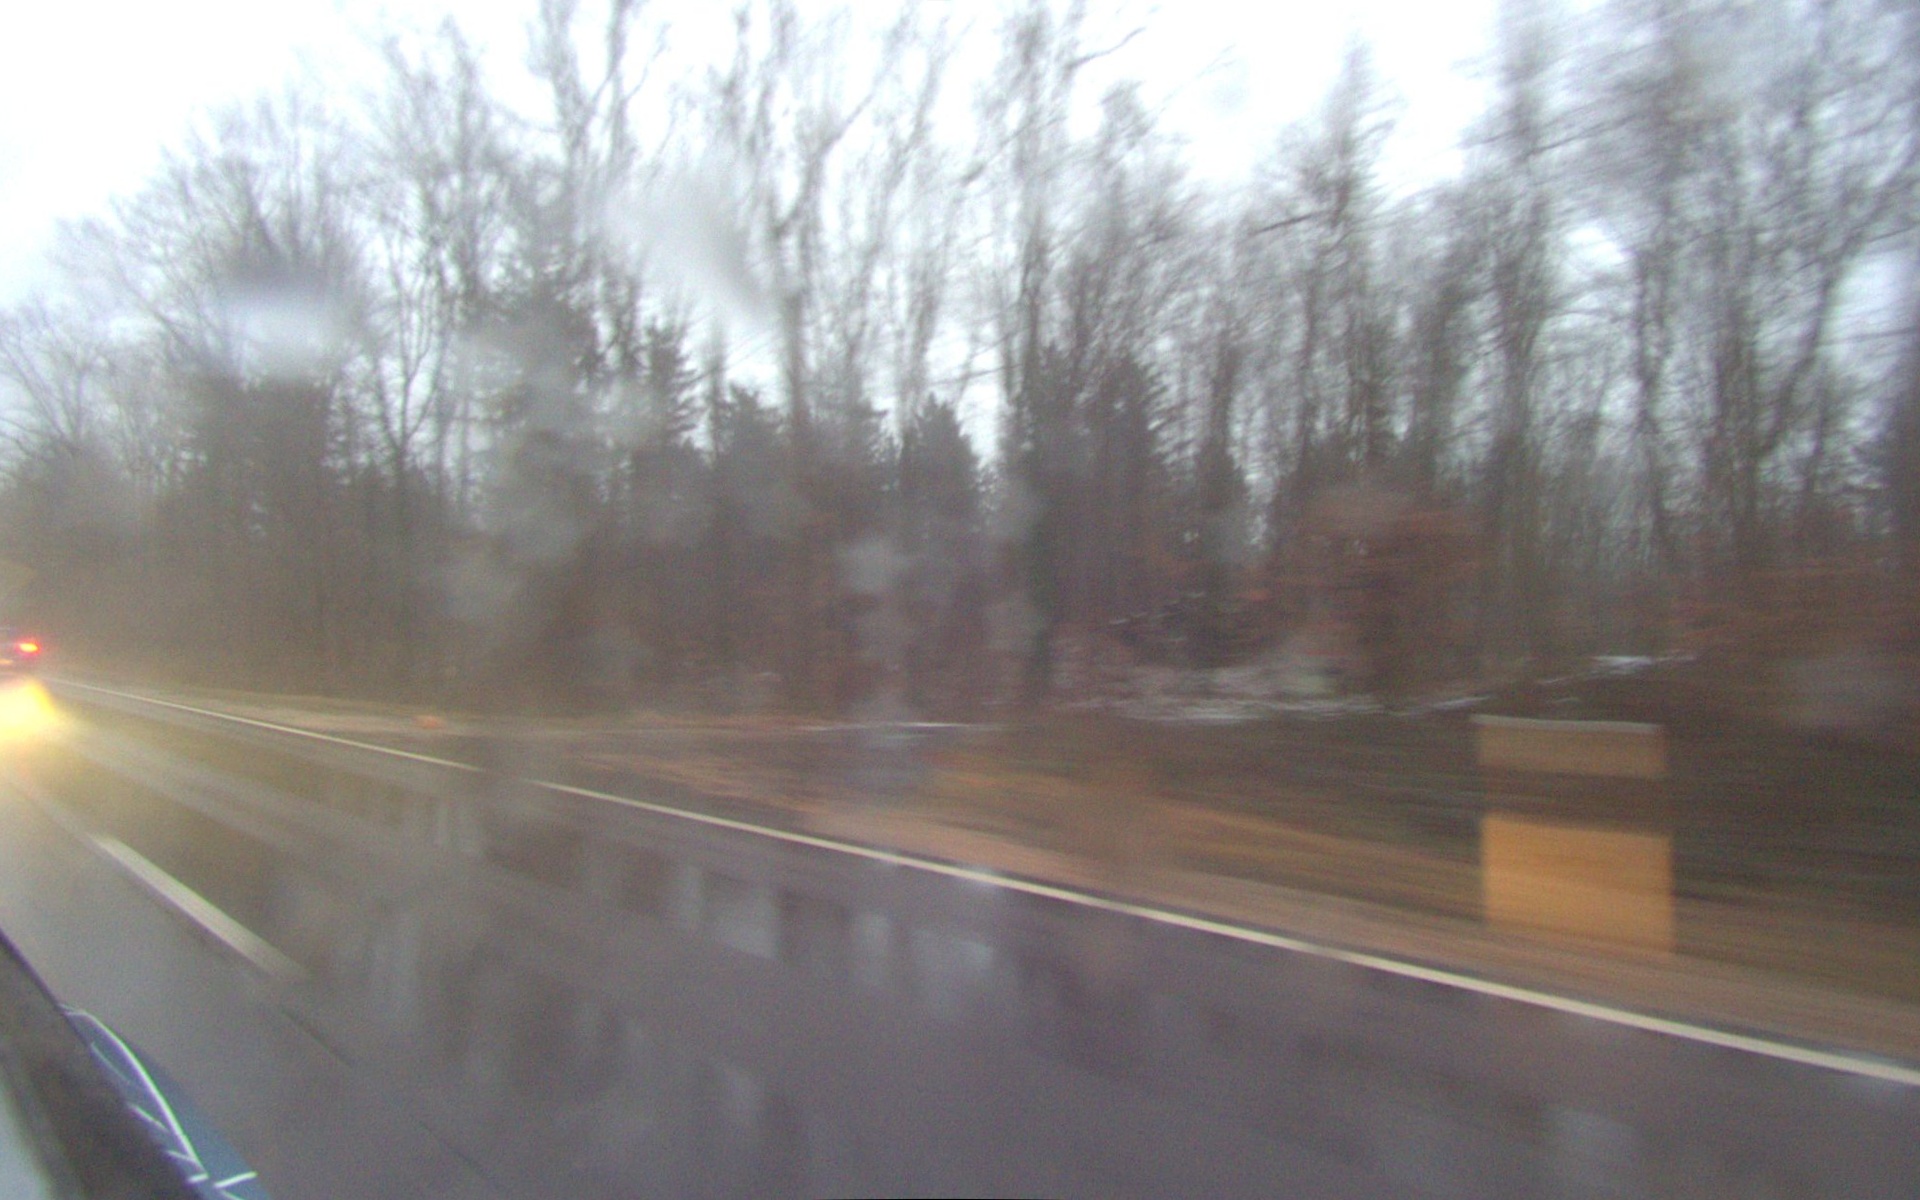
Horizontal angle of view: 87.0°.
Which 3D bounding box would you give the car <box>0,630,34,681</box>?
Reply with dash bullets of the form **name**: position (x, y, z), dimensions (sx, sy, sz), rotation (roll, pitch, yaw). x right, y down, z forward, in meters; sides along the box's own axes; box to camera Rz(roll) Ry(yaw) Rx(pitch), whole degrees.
- **car**: position (-28.808, 1.606, 29.882), dimensions (3.636, 1.469, 1.736), rotation (-2, -4, 42)
